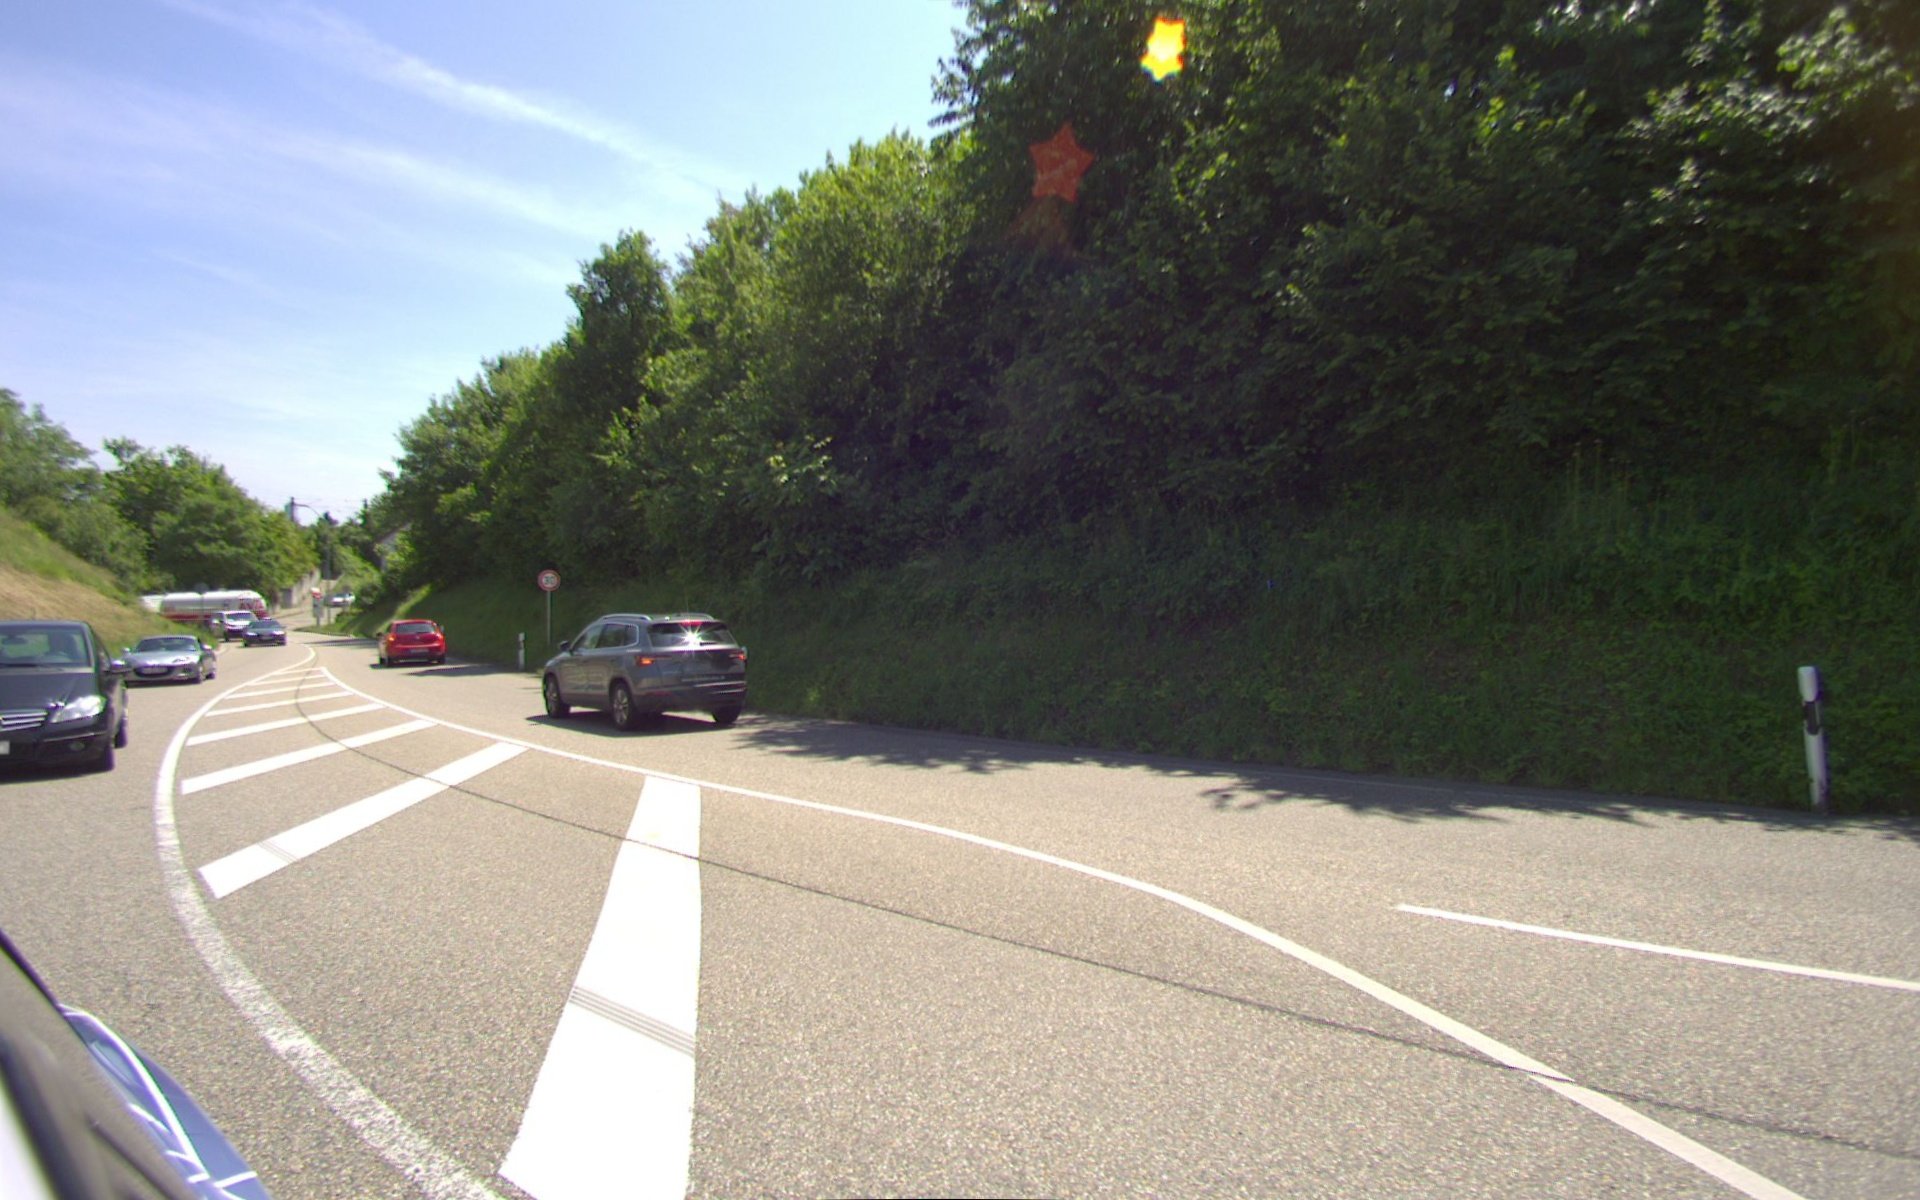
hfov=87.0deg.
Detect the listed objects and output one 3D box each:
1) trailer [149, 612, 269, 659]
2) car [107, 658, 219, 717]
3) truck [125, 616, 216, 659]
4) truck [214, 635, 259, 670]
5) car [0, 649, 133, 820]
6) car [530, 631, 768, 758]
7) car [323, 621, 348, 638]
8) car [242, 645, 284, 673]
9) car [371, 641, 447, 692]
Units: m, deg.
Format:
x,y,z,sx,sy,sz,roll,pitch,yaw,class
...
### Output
x,y,z,sx,sy,sz,roll,pitch,yaw,class
-58.417,2.776,78.648,11.081,3.398,2.619,-2,0,26,trailer
-20.415,2.201,26.065,1.620,1.332,3.449,1,-3,-27,car
-63.159,3.008,80.961,7.020,3.194,2.615,-2,0,22,truck
-46.397,3.310,64.884,2.039,2.028,5.255,-2,0,-38,truck
-10.336,1.381,11.094,1.767,1.592,3.808,0,-3,-36,car
-4.799,1.314,15.249,1.770,1.617,4.184,1,-2,-43,car
-71.608,3.331,116.146,1.966,1.518,4.014,-3,4,-25,car
-37.029,3.123,53.775,1.727,1.298,4.156,-2,0,-35,car
-17.816,2.090,32.643,1.726,1.459,4.010,-1,-2,-34,car
